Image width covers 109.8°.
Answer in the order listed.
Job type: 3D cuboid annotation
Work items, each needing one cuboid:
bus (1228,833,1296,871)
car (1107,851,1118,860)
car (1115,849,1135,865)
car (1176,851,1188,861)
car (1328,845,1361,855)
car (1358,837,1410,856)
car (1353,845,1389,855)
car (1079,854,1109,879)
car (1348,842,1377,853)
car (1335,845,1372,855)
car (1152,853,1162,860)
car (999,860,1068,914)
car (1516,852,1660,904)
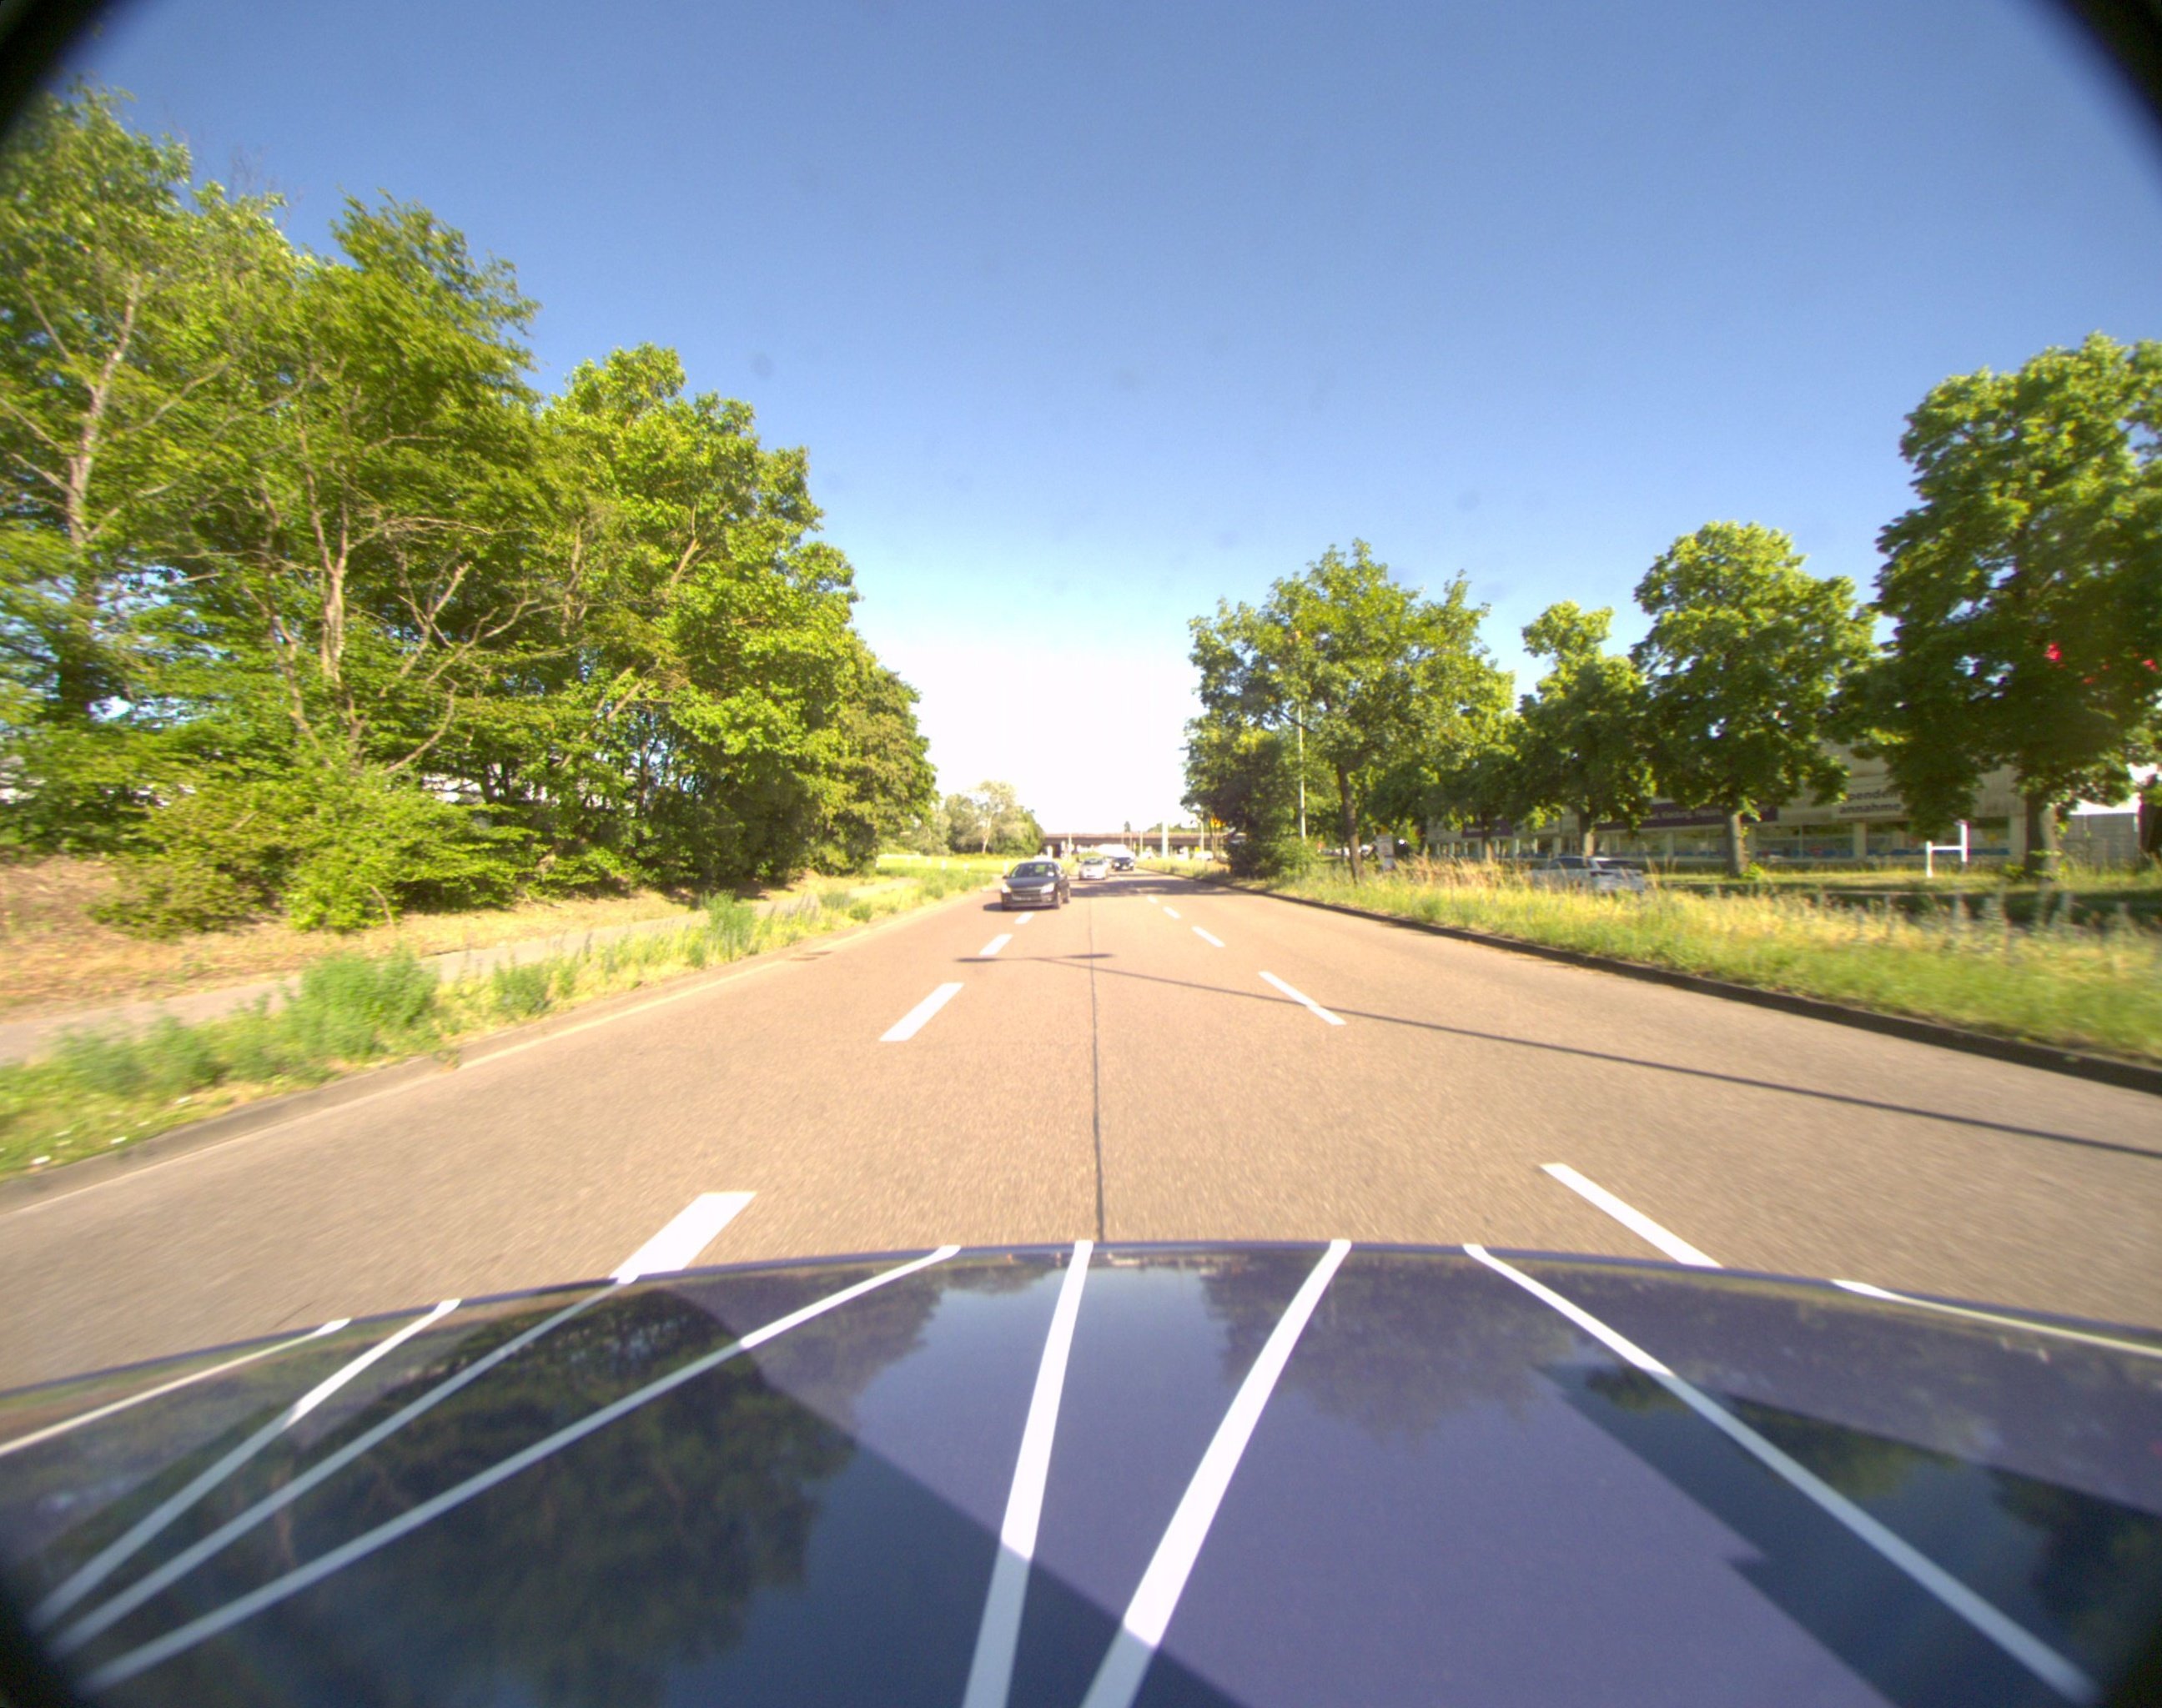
[{"bbox_3d":[14.139,-0.137,60.362,2.728,2.705,11.087,2,0,0],"label":"bus"},{"bbox_3d":[5.759,0.229,137.314,1.827,1.528,4.042,-1,0,1],"label":"car"},{"bbox_3d":[4.343,0.293,75.800,1.827,1.528,4.042,-1,0,1],"label":"car"},{"bbox_3d":[18.168,0.296,136.893,1.710,1.736,4.165,-1,0,0],"label":"car"},{"bbox_3d":[38.595,-0.597,111.150,4.129,1.380,1.946,0,0,-3],"label":"car"},{"bbox_3d":[39.188,-0.985,98.303,5.893,2.419,2.206,0,0,-3],"label":"car"},{"bbox_3d":[39.447,-0.518,103.514,4.129,1.380,1.946,0,0,-3],"label":"car"},{"bbox_3d":[0.849,0.778,49.749,1.827,1.528,4.042,-1,0,1],"label":"car"},{"bbox_3d":[52.034,-1.194,140.440,1.899,2.139,5.034,0,0,-31],"label":"car"},{"bbox_3d":[39.015,-0.586,108.857,4.631,1.380,1.947,0,0,1],"label":"car"},{"bbox_3d":[17.452,0.599,175.089,1.947,1.687,4.630,1,0,0],"label":"car"},{"bbox_3d":[-1.376,0.954,23.535,1.706,1.447,3.959,-1,0,2],"label":"car"},{"bbox_3d":[16.649,0.734,25.267,1.760,1.511,4.529,2,0,1],"label":"car"}]
